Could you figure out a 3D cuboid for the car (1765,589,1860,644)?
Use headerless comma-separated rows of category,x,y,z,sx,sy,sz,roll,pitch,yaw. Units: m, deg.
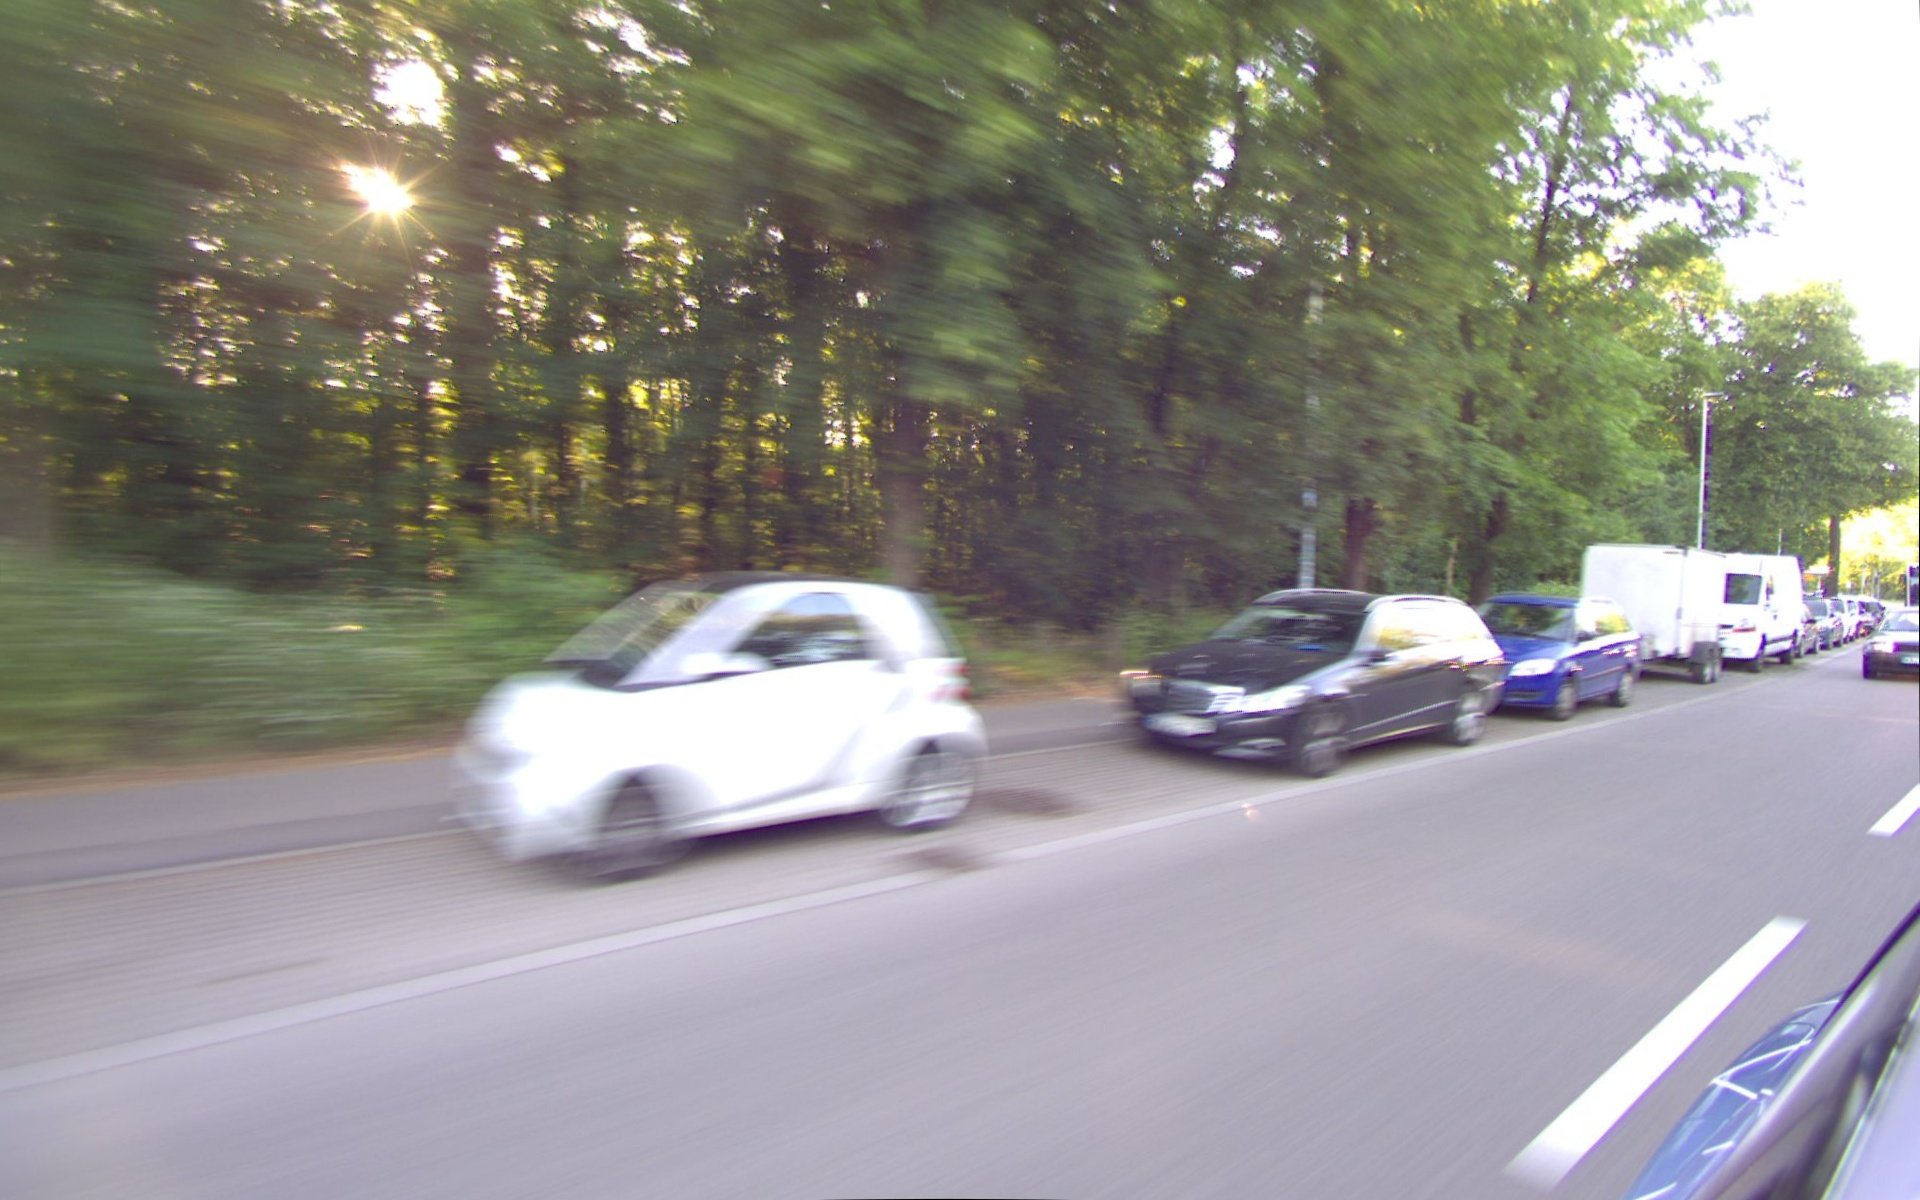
car,25.602,0.437,30.343,3.998,1.482,1.680,-1,3,-43

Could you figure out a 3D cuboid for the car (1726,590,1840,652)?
car,21.754,0.485,26.687,4.572,1.418,1.680,-1,3,-43

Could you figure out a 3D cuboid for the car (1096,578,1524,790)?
car,3.626,0.589,9.906,4.903,1.554,1.762,-1,3,-42

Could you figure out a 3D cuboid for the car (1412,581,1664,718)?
car,7.991,0.540,13.822,4.278,1.554,1.681,-1,3,-42

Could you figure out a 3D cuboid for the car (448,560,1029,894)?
car,-1.270,0.544,6.242,3.123,1.513,1.590,-1,3,-39

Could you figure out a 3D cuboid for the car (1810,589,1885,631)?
car,33.765,0.335,38.476,4.826,1.429,1.720,-1,3,-44

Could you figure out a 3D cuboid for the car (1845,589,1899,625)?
car,41.145,0.277,45.622,1.718,1.429,4.418,3,3,43

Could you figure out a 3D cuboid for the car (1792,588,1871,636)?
car,29.788,0.376,34.555,3.628,1.482,1.679,-1,3,-44

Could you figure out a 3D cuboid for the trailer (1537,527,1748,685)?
trailer,12.312,0.028,18.118,5.039,2.453,1.907,-1,3,-42

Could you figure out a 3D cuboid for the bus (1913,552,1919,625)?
bus,46.023,-0.529,46.567,12.676,3.086,2.806,-1,1,-45

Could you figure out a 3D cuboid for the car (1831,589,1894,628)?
car,37.453,0.302,41.973,1.719,1.429,4.416,3,3,44

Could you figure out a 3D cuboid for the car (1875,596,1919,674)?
car,19.199,0.643,19.759,3.927,1.376,1.676,-1,1,-43

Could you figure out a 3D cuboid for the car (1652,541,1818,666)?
car,17.329,-0.007,22.509,5.480,2.453,1.907,-1,3,-42
